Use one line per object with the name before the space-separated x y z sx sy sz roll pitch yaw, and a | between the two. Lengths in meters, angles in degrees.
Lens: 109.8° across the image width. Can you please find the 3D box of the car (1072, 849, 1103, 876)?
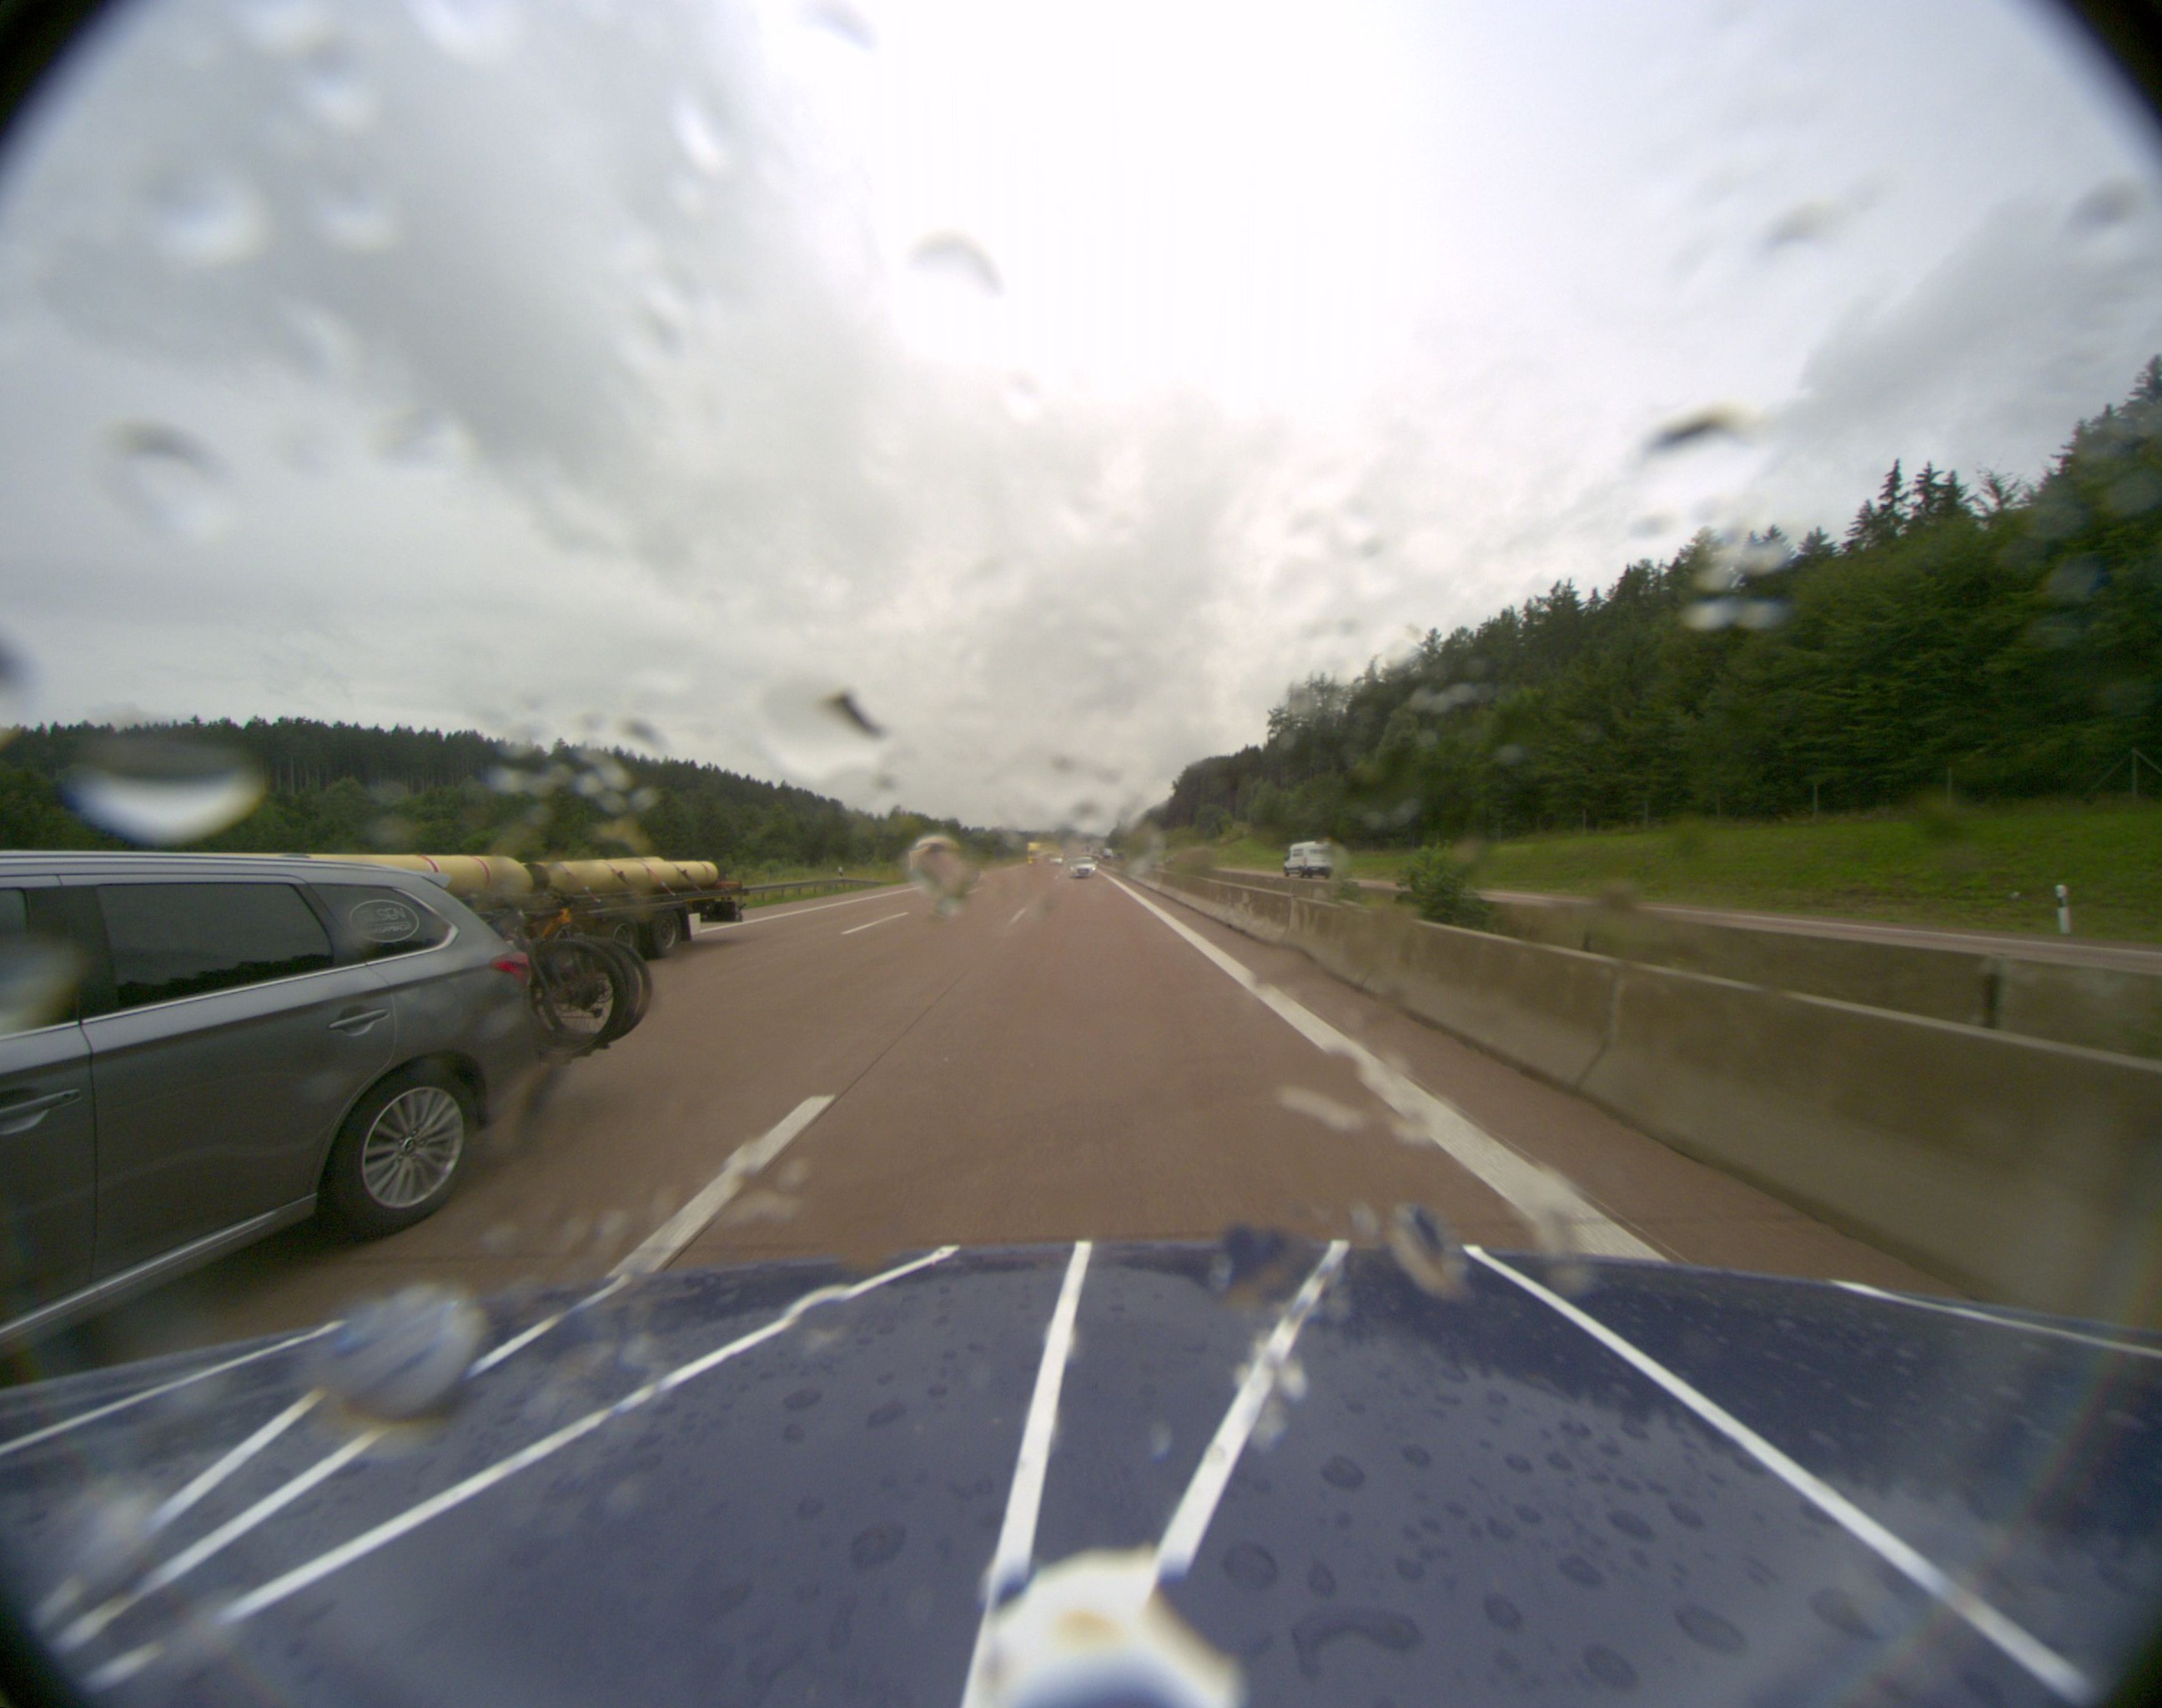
car | 0.407 0.552 53.025 1.999 1.623 4.929 -2 2 0

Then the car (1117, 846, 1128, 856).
car | 10.319 -0.692 188.974 2.108 2.266 5.393 -2 2 -1

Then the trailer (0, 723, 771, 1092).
trailer | -8.406 0.294 11.237 2.888 2.660 11.394 -2 2 0

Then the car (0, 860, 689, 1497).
car | -3.905 0.948 2.585 1.998 1.584 5.818 -2 2 1

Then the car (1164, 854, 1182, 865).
car | 12.332 0.720 102.321 1.654 1.381 4.809 2 0 -1

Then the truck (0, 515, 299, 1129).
truck | -8.368 -0.123 3.093 2.904 3.942 6.986 -2 2 -1

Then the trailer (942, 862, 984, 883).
trailer | -7.549 1.166 49.084 1.976 1.159 4.638 -2 0 -1

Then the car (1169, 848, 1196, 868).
car | 9.724 0.386 73.194 1.998 1.816 4.686 -1 0 1

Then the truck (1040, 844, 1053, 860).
truck | -10.932 -0.704 241.478 3.190 4.349 14.699 -2 2 0

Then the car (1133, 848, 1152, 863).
car | 8.220 0.158 102.248 1.999 2.002 5.525 -1 0 -1

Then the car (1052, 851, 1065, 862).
car | -3.757 0.358 126.495 1.999 1.623 4.929 -2 2 0

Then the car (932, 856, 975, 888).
car | -7.391 0.996 44.416 1.702 1.602 4.975 -1 1 -1

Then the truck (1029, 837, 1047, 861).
truck | -7.739 -0.952 137.291 2.610 4.190 6.248 -2 2 0

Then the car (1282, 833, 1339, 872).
car | 16.372 -0.188 54.580 2.229 2.570 6.253 -2 2 1

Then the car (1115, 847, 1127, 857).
car | 8.128 -0.415 154.502 1.862 1.697 6.161 -2 2 -1
